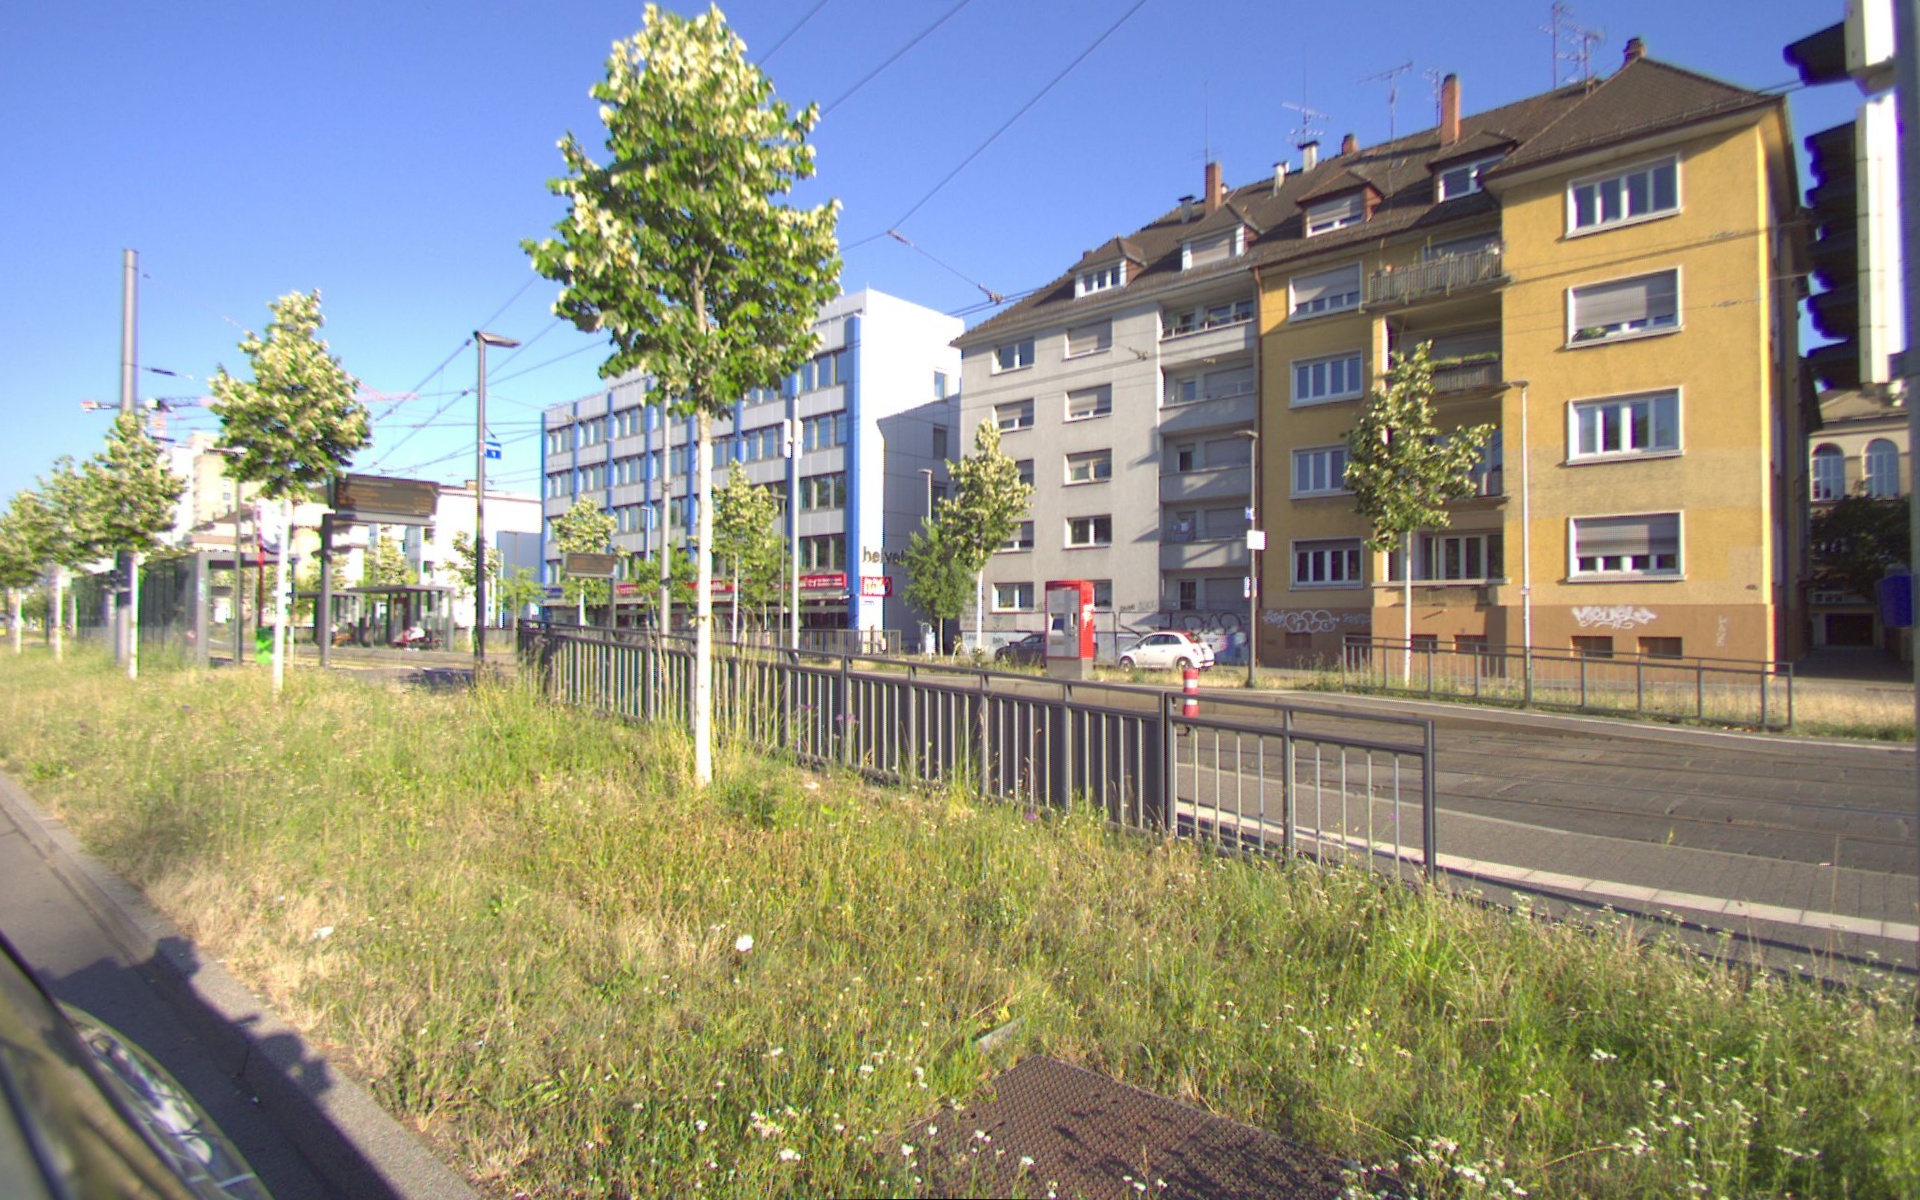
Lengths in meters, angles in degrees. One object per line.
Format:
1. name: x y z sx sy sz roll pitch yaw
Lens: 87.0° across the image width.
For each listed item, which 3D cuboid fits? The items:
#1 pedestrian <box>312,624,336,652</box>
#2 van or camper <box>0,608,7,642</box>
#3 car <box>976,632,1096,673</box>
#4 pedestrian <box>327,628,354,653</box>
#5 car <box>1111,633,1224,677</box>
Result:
1. pedestrian: -32.331 1.941 51.450 0.803 1.421 0.829 -2 -2 41
2. van or camper: -93.644 2.396 97.435 7.479 3.192 2.476 -2 -2 45
3. car: 2.961 2.013 39.915 4.429 1.519 1.973 -2 -2 41
4. pedestrian: -30.439 1.964 49.706 0.764 1.206 0.924 -2 -2 41
5. car: 7.357 1.918 35.995 3.551 1.497 1.729 -2 -2 41
